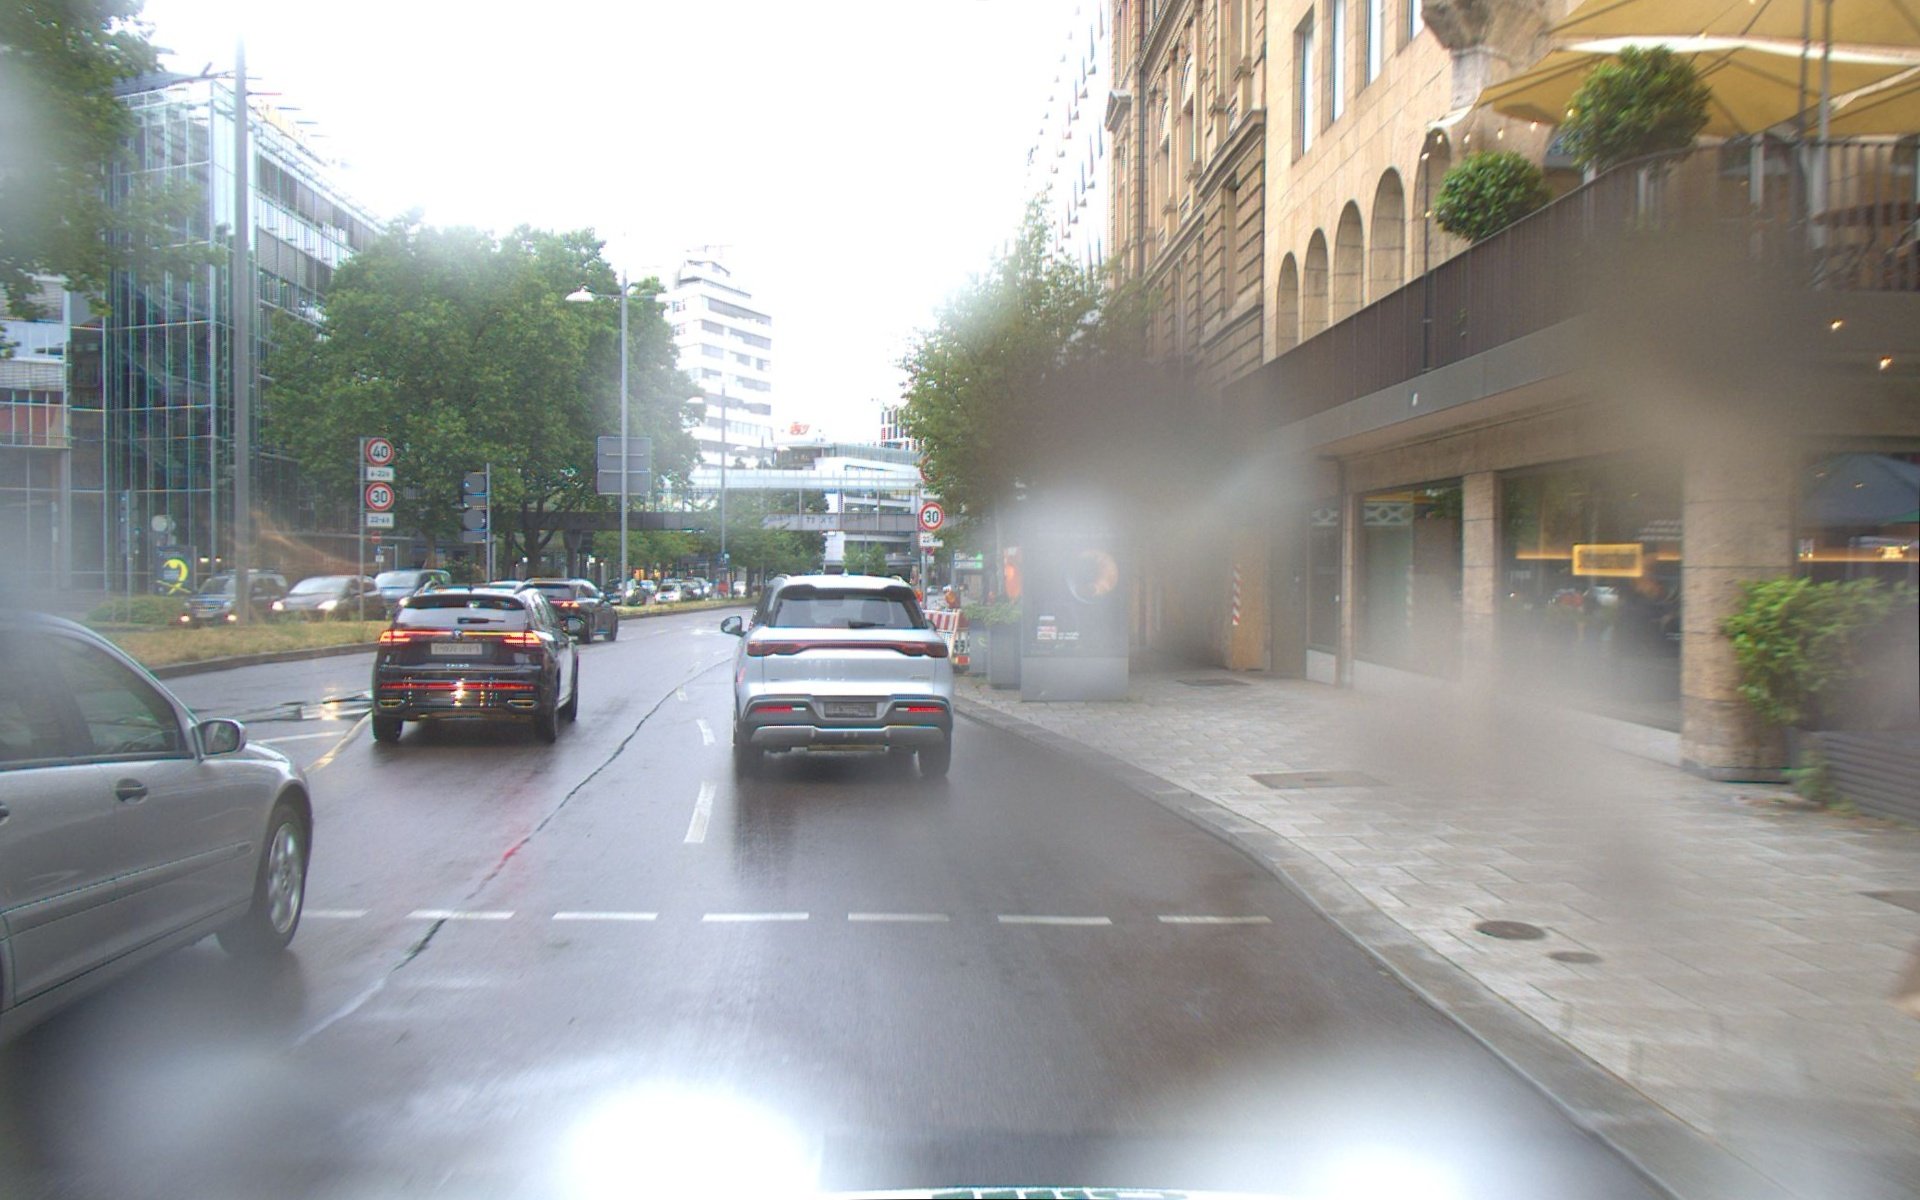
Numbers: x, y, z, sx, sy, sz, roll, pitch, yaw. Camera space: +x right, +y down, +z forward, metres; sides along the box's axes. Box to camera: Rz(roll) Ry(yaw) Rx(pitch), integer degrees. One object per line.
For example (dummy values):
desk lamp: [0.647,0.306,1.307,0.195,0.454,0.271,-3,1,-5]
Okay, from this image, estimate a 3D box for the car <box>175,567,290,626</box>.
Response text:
car: [-21.902,-0.092,49.942,1.794,1.668,4.089,1,0,-3]

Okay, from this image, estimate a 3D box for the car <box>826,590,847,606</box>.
car: [-10.922,-0.185,146.471,1.619,1.365,4.000,1,0,0]

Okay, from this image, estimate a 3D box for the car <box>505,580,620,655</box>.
car: [-9.183,0.372,38.519,1.775,1.606,3.999,1,0,-2]

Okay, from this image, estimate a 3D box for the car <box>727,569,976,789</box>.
car: [-1.106,0.594,14.739,1.866,1.649,3.993,2,0,-8]

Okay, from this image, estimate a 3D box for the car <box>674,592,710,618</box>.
car: [-18.460,0.334,113.943,1.836,1.710,4.679,1,0,-2]

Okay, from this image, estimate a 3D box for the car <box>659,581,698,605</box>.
car: [-16.792,-0.413,98.798,1.564,1.384,4.116,1,0,0]

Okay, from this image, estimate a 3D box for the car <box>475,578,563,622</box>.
car: [-15.388,0.014,57.972,1.822,1.467,4.314,1,0,1]

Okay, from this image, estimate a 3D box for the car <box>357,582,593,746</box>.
car: [-4.835,0.595,17.007,1.741,1.482,3.992,1,0,-8]

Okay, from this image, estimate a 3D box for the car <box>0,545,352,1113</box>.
car: [-3.391,0.572,5.104,1.639,1.505,4.357,2,0,-4]

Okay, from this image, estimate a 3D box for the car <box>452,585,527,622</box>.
car: [-19.369,0.143,68.268,1.691,1.457,4.396,1,0,2]

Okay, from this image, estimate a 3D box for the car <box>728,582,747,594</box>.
car: [-25.675,-1.364,190.711,1.564,1.384,4.116,1,0,0]

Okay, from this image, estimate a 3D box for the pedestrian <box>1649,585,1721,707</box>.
pedestrian: [6.593,0.412,15.036,0.533,1.074,0.408,2,1,30]

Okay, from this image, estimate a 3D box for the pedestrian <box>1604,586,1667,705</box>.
pedestrian: [6.379,0.423,15.627,0.323,1.092,0.479,1,1,-10]

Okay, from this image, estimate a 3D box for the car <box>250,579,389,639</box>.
car: [-15.763,0.227,40.906,1.710,1.388,3.945,1,0,3]

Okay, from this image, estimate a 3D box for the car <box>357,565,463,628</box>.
car: [-18.802,-0.096,56.768,1.793,2.037,5.105,1,0,2]

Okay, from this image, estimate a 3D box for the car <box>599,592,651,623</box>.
car: [-16.442,0.356,81.335,1.665,1.462,4.581,1,0,-1]

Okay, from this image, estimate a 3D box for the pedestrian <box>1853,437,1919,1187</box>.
pedestrian: [2.713,0.530,4.146,0.583,1.867,0.623,1,-1,-29]
